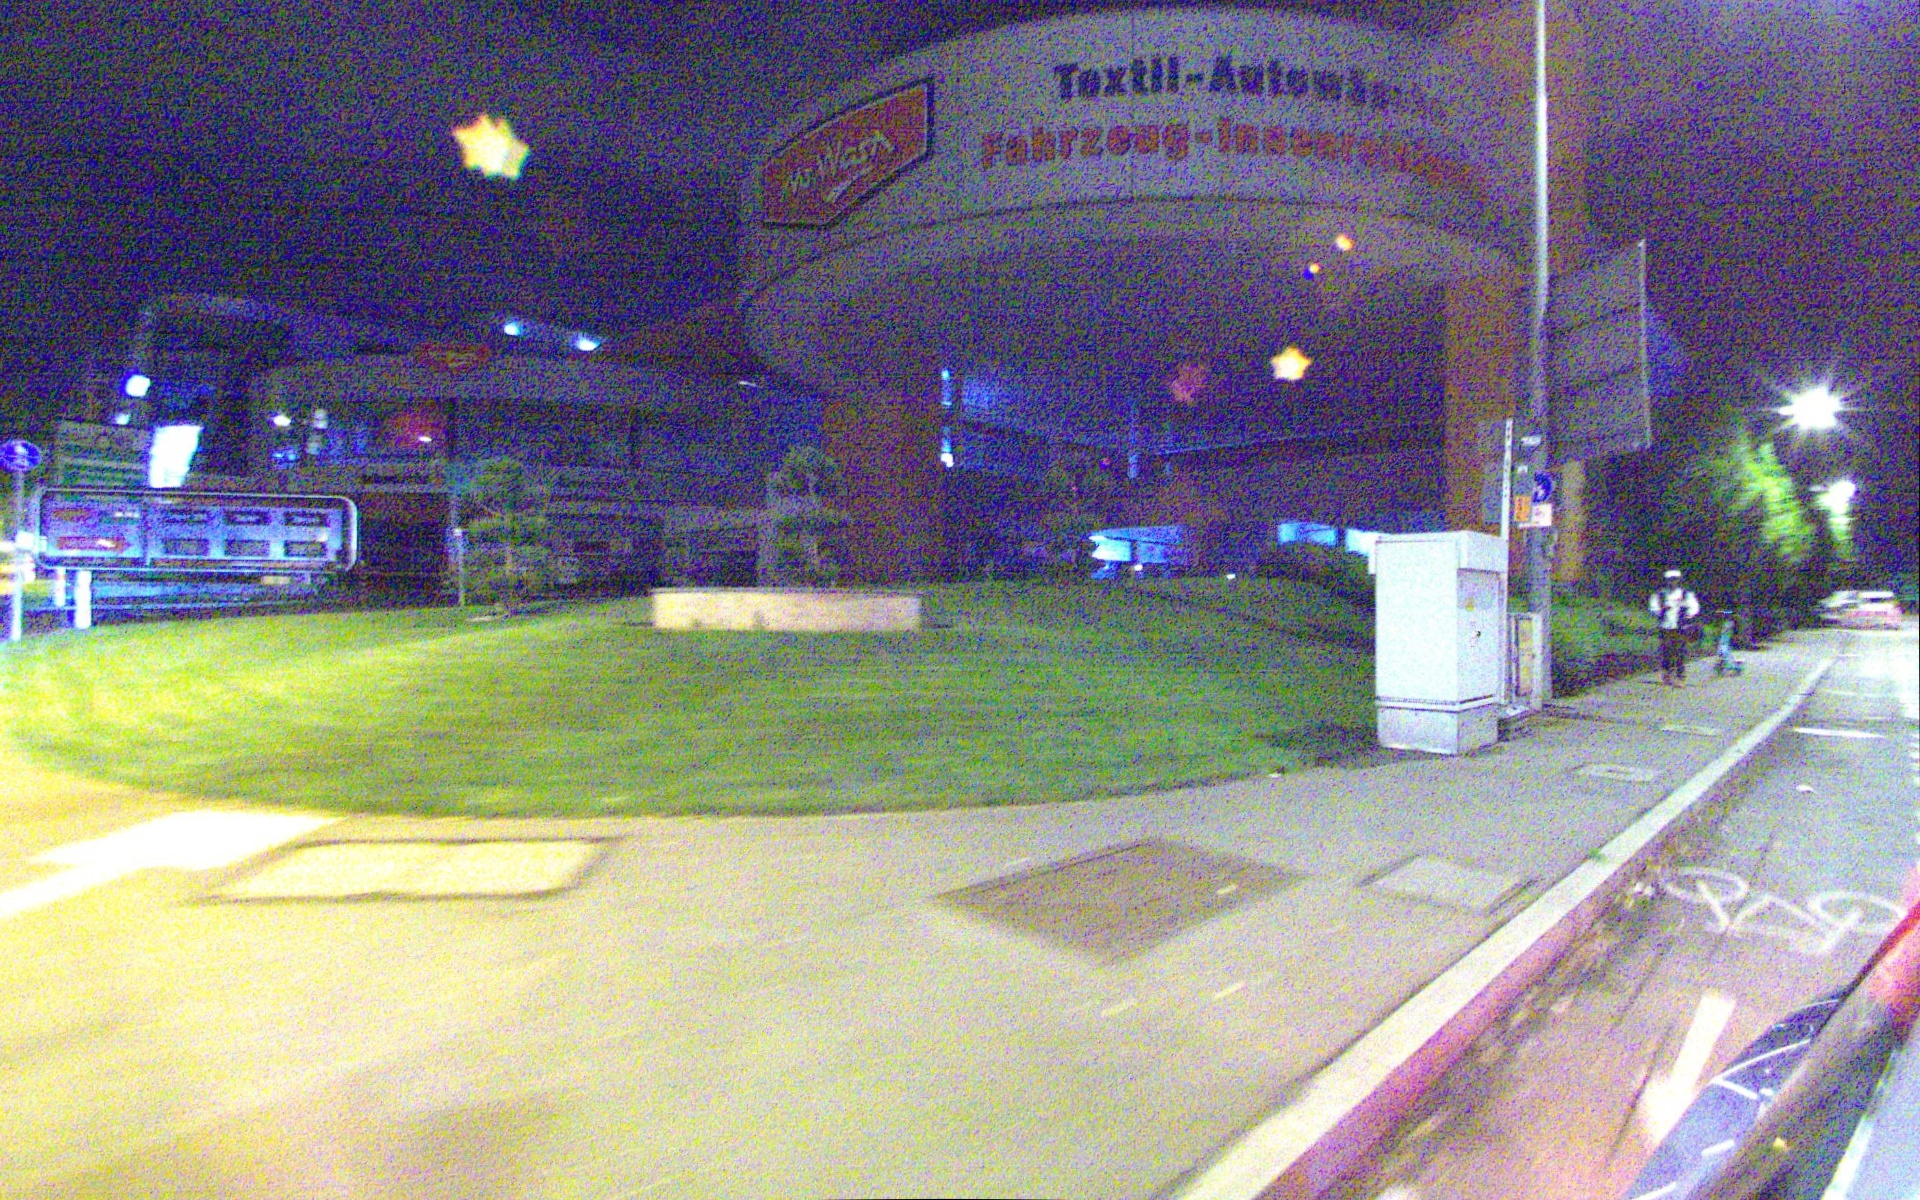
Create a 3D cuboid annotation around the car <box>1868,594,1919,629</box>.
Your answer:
[{"bbox_3d":[58.020,0.675,62.671,3.930,1.665,2.000,-4,10,-39],"label":"car"}]

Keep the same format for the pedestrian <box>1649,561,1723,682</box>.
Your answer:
[{"bbox_3d":[11.805,0.333,16.454,1.017,1.888,0.818,0,0,-45],"label":"pedestrian"}]

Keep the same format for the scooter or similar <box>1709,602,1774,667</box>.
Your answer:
[{"bbox_3d":[15.034,0.663,19.461,1.111,1.217,0.470,2,-1,-21],"label":"scooter or similar"}]
